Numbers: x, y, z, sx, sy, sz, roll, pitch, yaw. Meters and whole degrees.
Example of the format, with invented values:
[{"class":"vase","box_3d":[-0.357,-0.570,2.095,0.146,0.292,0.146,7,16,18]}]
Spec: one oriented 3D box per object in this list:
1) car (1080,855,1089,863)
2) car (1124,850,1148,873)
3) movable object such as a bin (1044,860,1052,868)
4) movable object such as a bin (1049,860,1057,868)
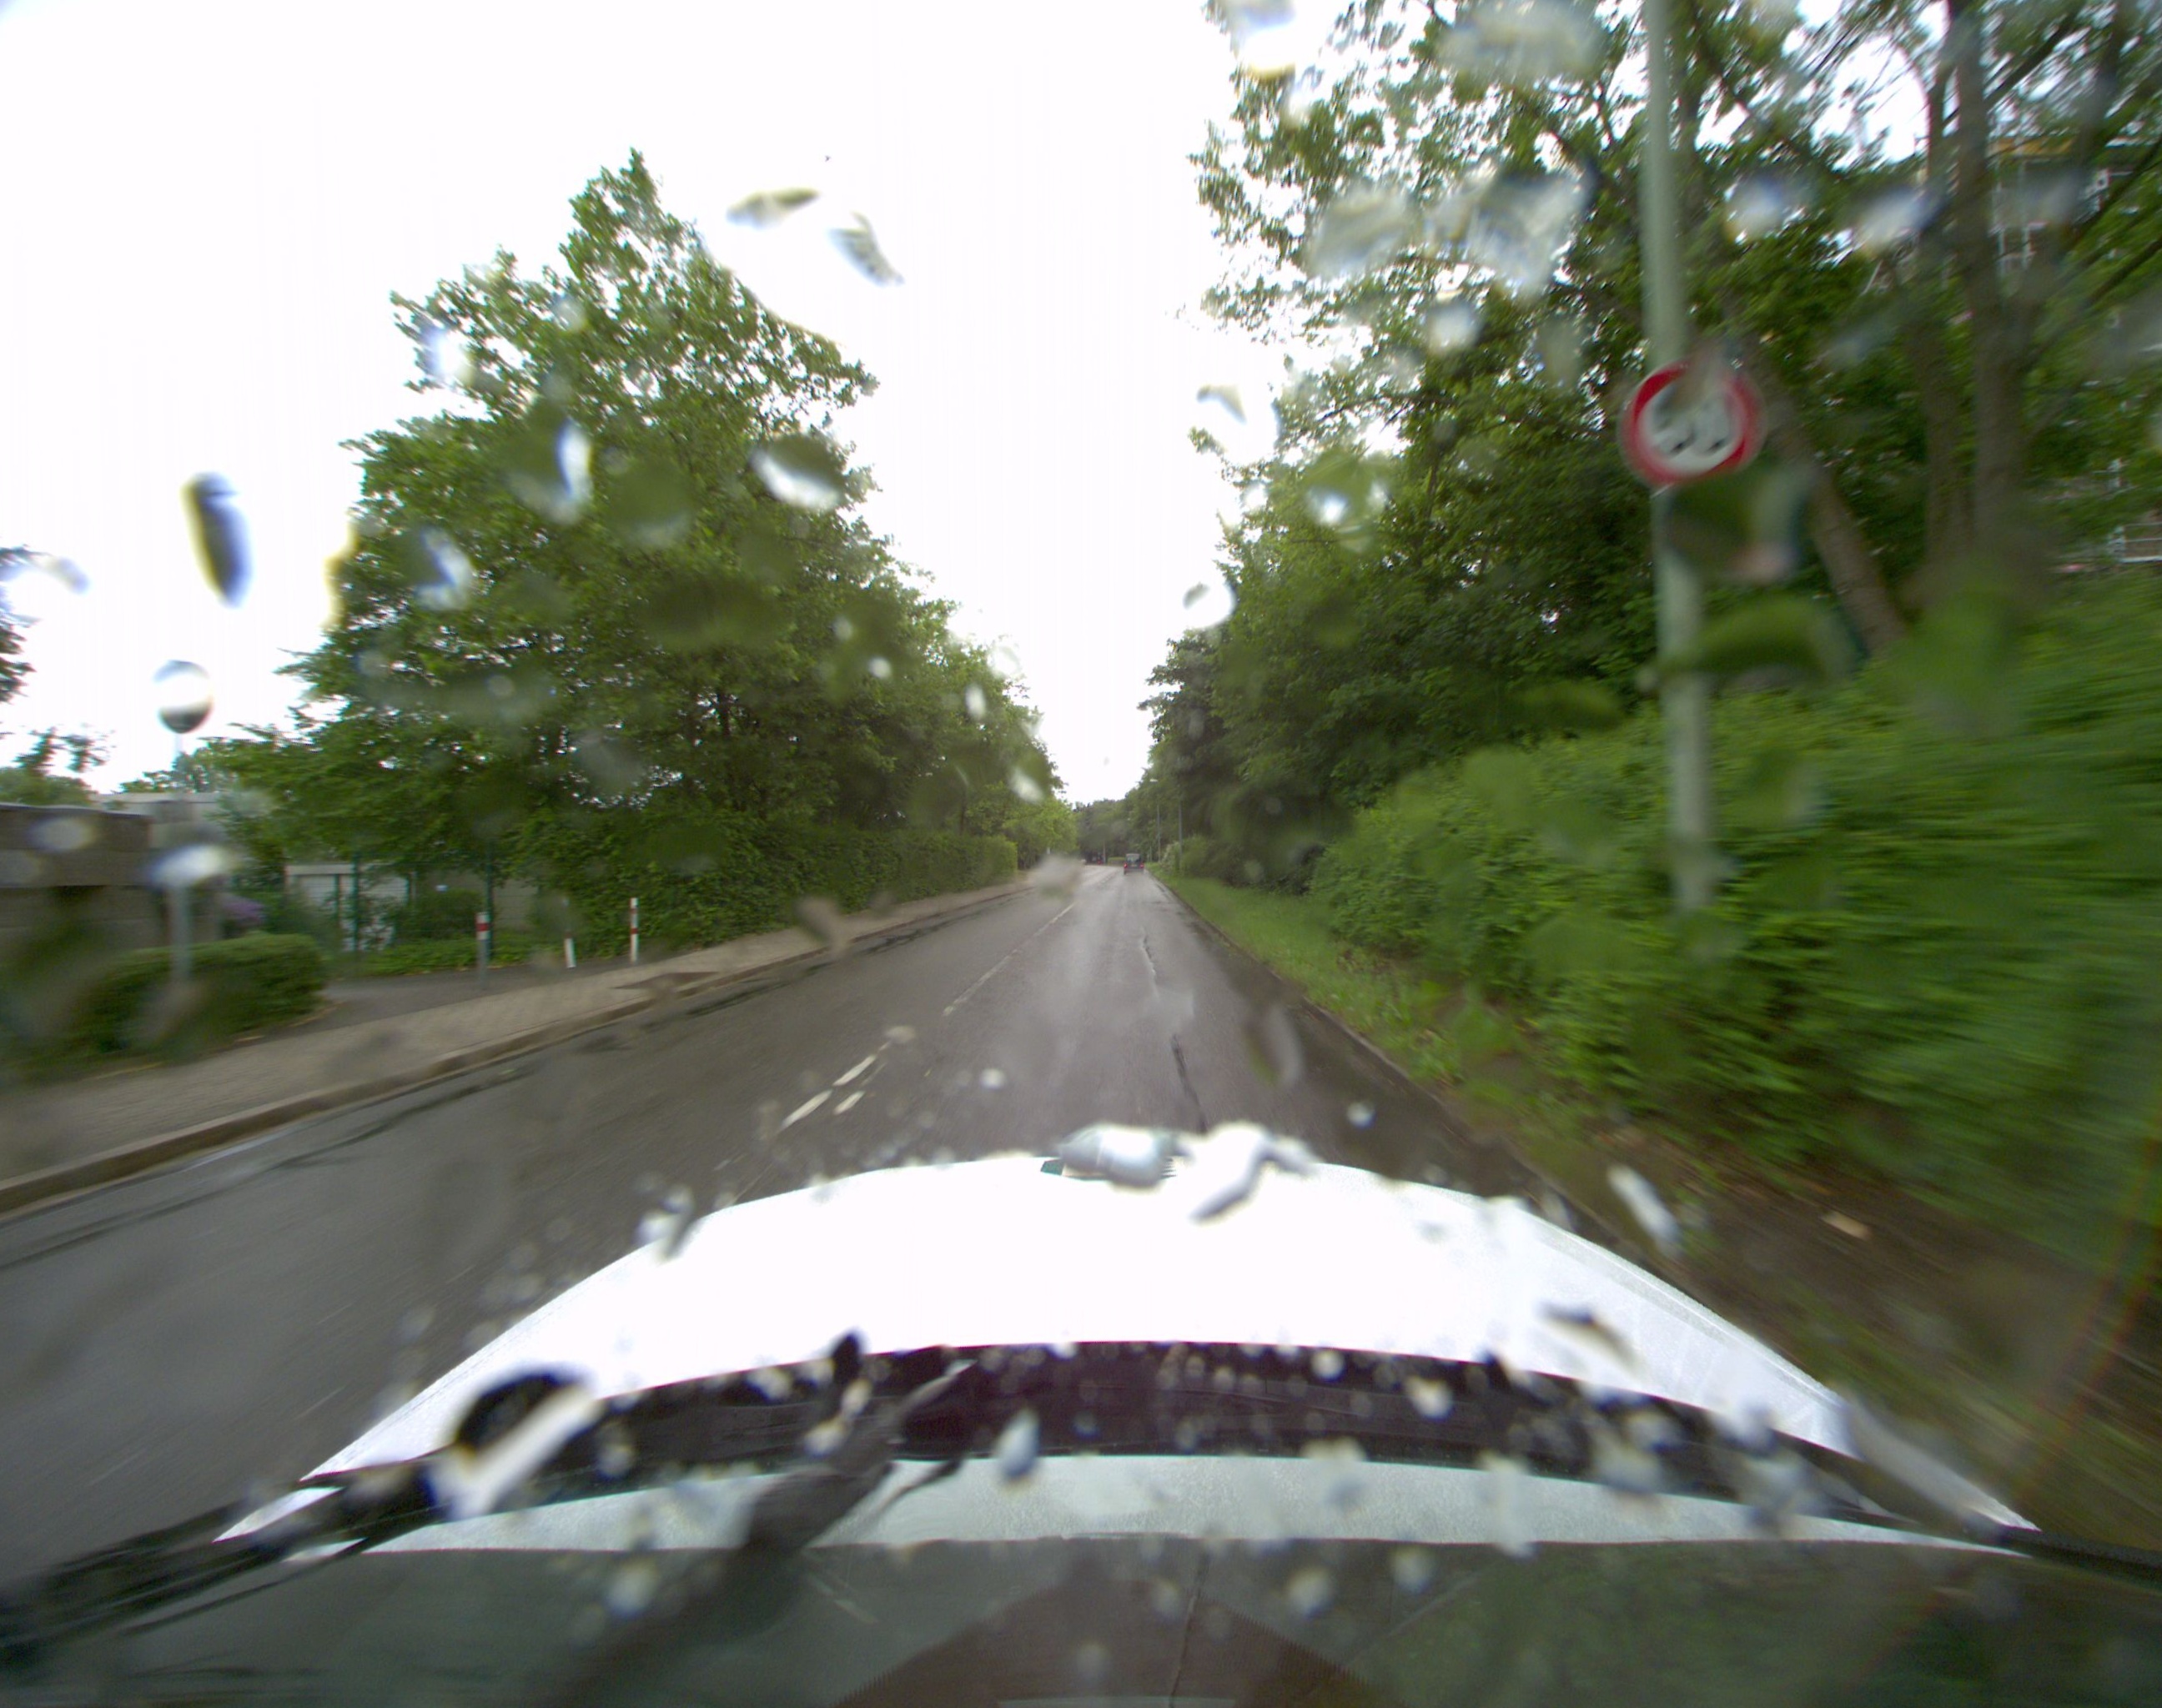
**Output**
[{"class":"car","box_3d":[0.790,1.207,198.170,1.986,2.013,4.002,1,0,2]},{"class":"car","box_3d":[4.782,0.629,71.166,1.985,1.793,4.004,2,1,3]},{"class":"movable object such as a bin","box_3d":[-4.443,1.394,109.986,0.670,1.026,0.827,-3,0,-28]},{"class":"movable object such as a bin","box_3d":[-3.805,1.375,110.345,0.670,1.026,0.827,-3,0,-28]}]
